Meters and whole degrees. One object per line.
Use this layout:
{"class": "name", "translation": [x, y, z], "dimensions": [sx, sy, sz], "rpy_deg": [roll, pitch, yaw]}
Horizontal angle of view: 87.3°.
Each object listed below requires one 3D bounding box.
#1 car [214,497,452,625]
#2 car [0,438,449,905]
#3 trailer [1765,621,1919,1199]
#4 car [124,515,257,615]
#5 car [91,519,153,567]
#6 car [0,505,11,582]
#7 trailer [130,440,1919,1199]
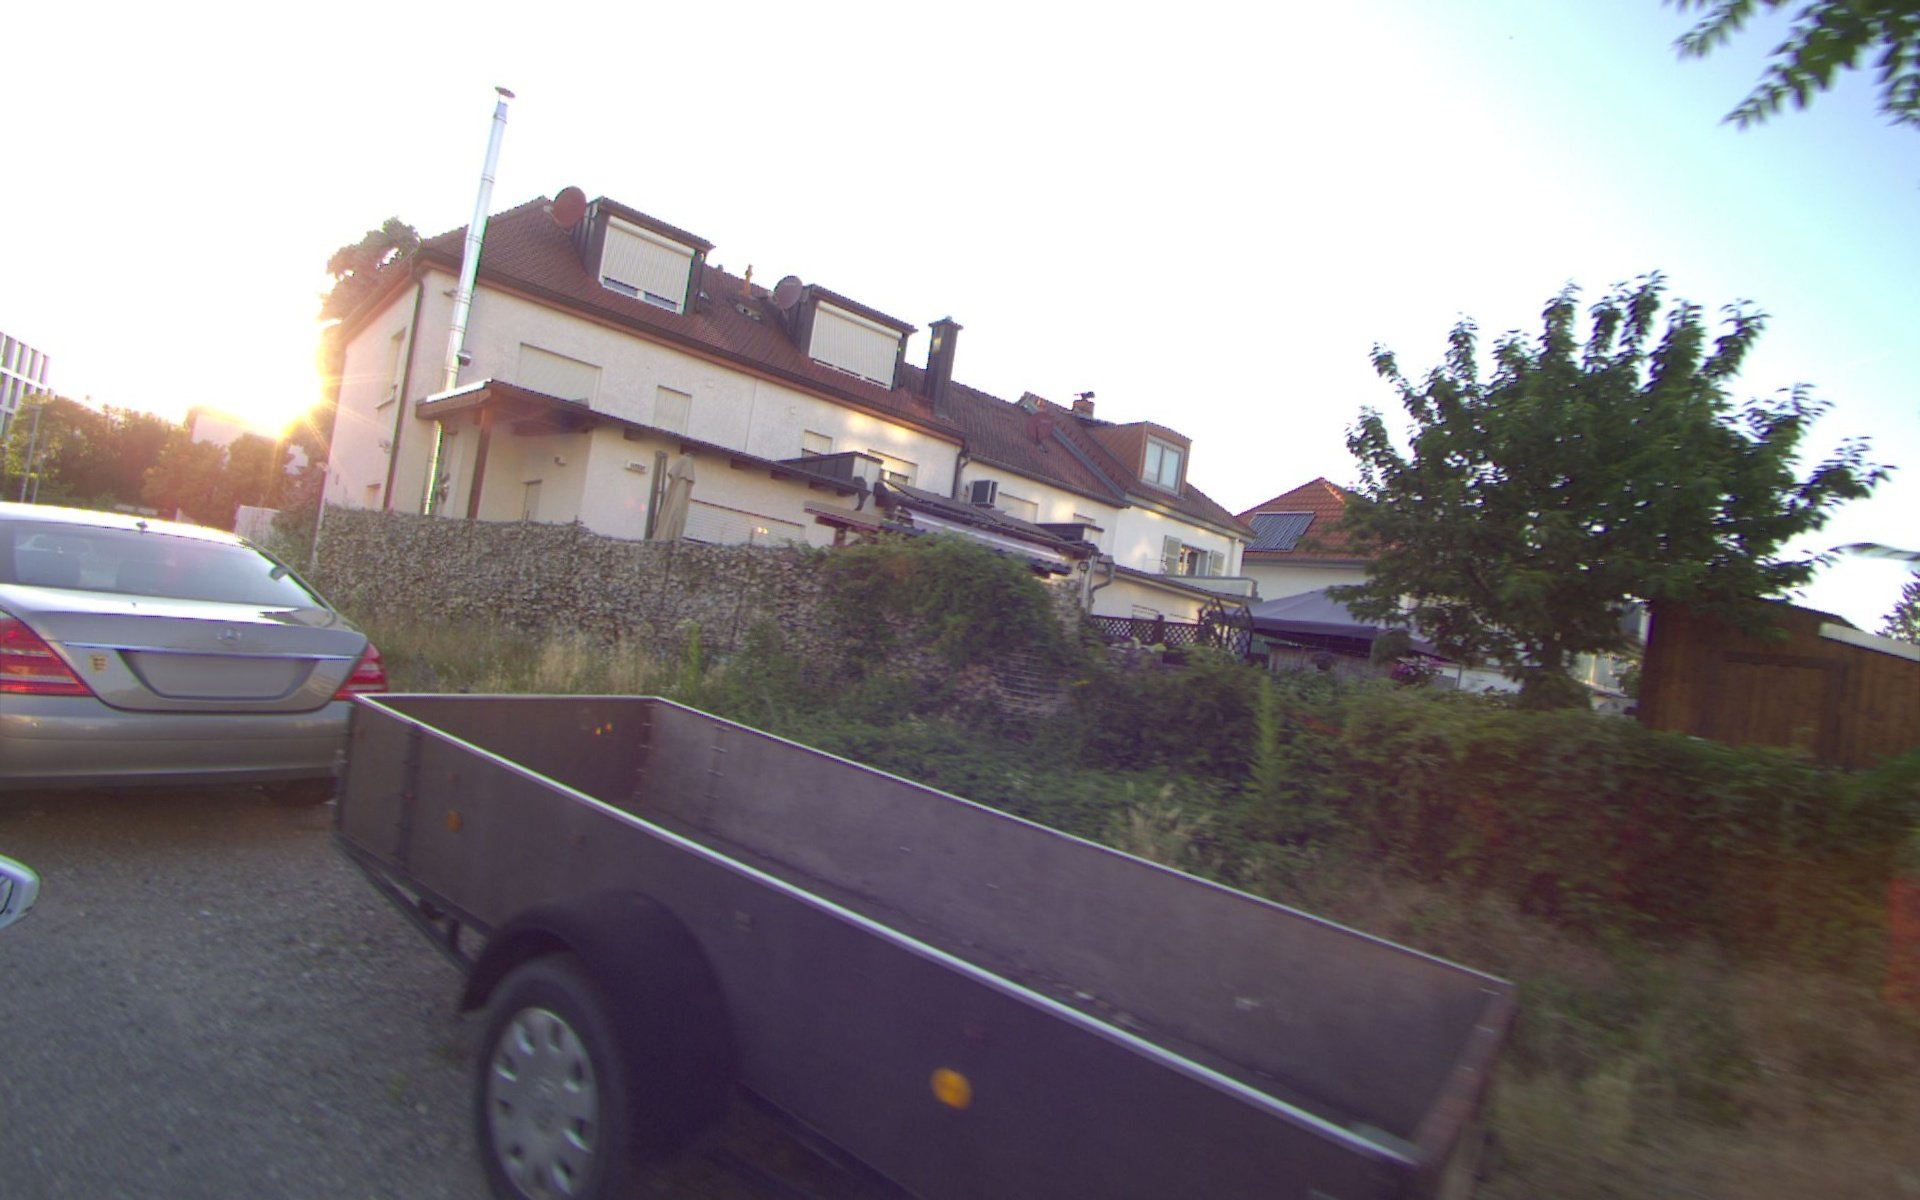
{"class": "car", "translation": [-18.499, -1.107, 29.846], "dimensions": [5.543, 2.723, 2.031], "rpy_deg": [11, -2, -38]}
{"class": "car", "translation": [-5.142, 0.123, 5.723], "dimensions": [4.851, 1.745, 1.807], "rpy_deg": [7, -1, 35]}
{"class": "trailer", "translation": [2.806, 1.008, 1.094], "dimensions": [2.755, 1.685, 1.253], "rpy_deg": [7, -1, 29]}
{"class": "car", "translation": [-14.864, -0.653, 19.359], "dimensions": [1.631, 1.535, 3.860], "rpy_deg": [9, -5, -41]}
{"class": "car", "translation": [-30.449, -2.091, 36.605], "dimensions": [1.523, 1.460, 3.600], "rpy_deg": [9, -2, -39]}
{"class": "car", "translation": [-12.041, -0.479, 11.227], "dimensions": [4.032, 1.536, 1.703], "rpy_deg": [6, -3, 43]}
{"class": "trailer", "translation": [-0.379, 0.633, 2.882], "dimensions": [4.859, 1.798, 1.732], "rpy_deg": [7, -1, 35]}
